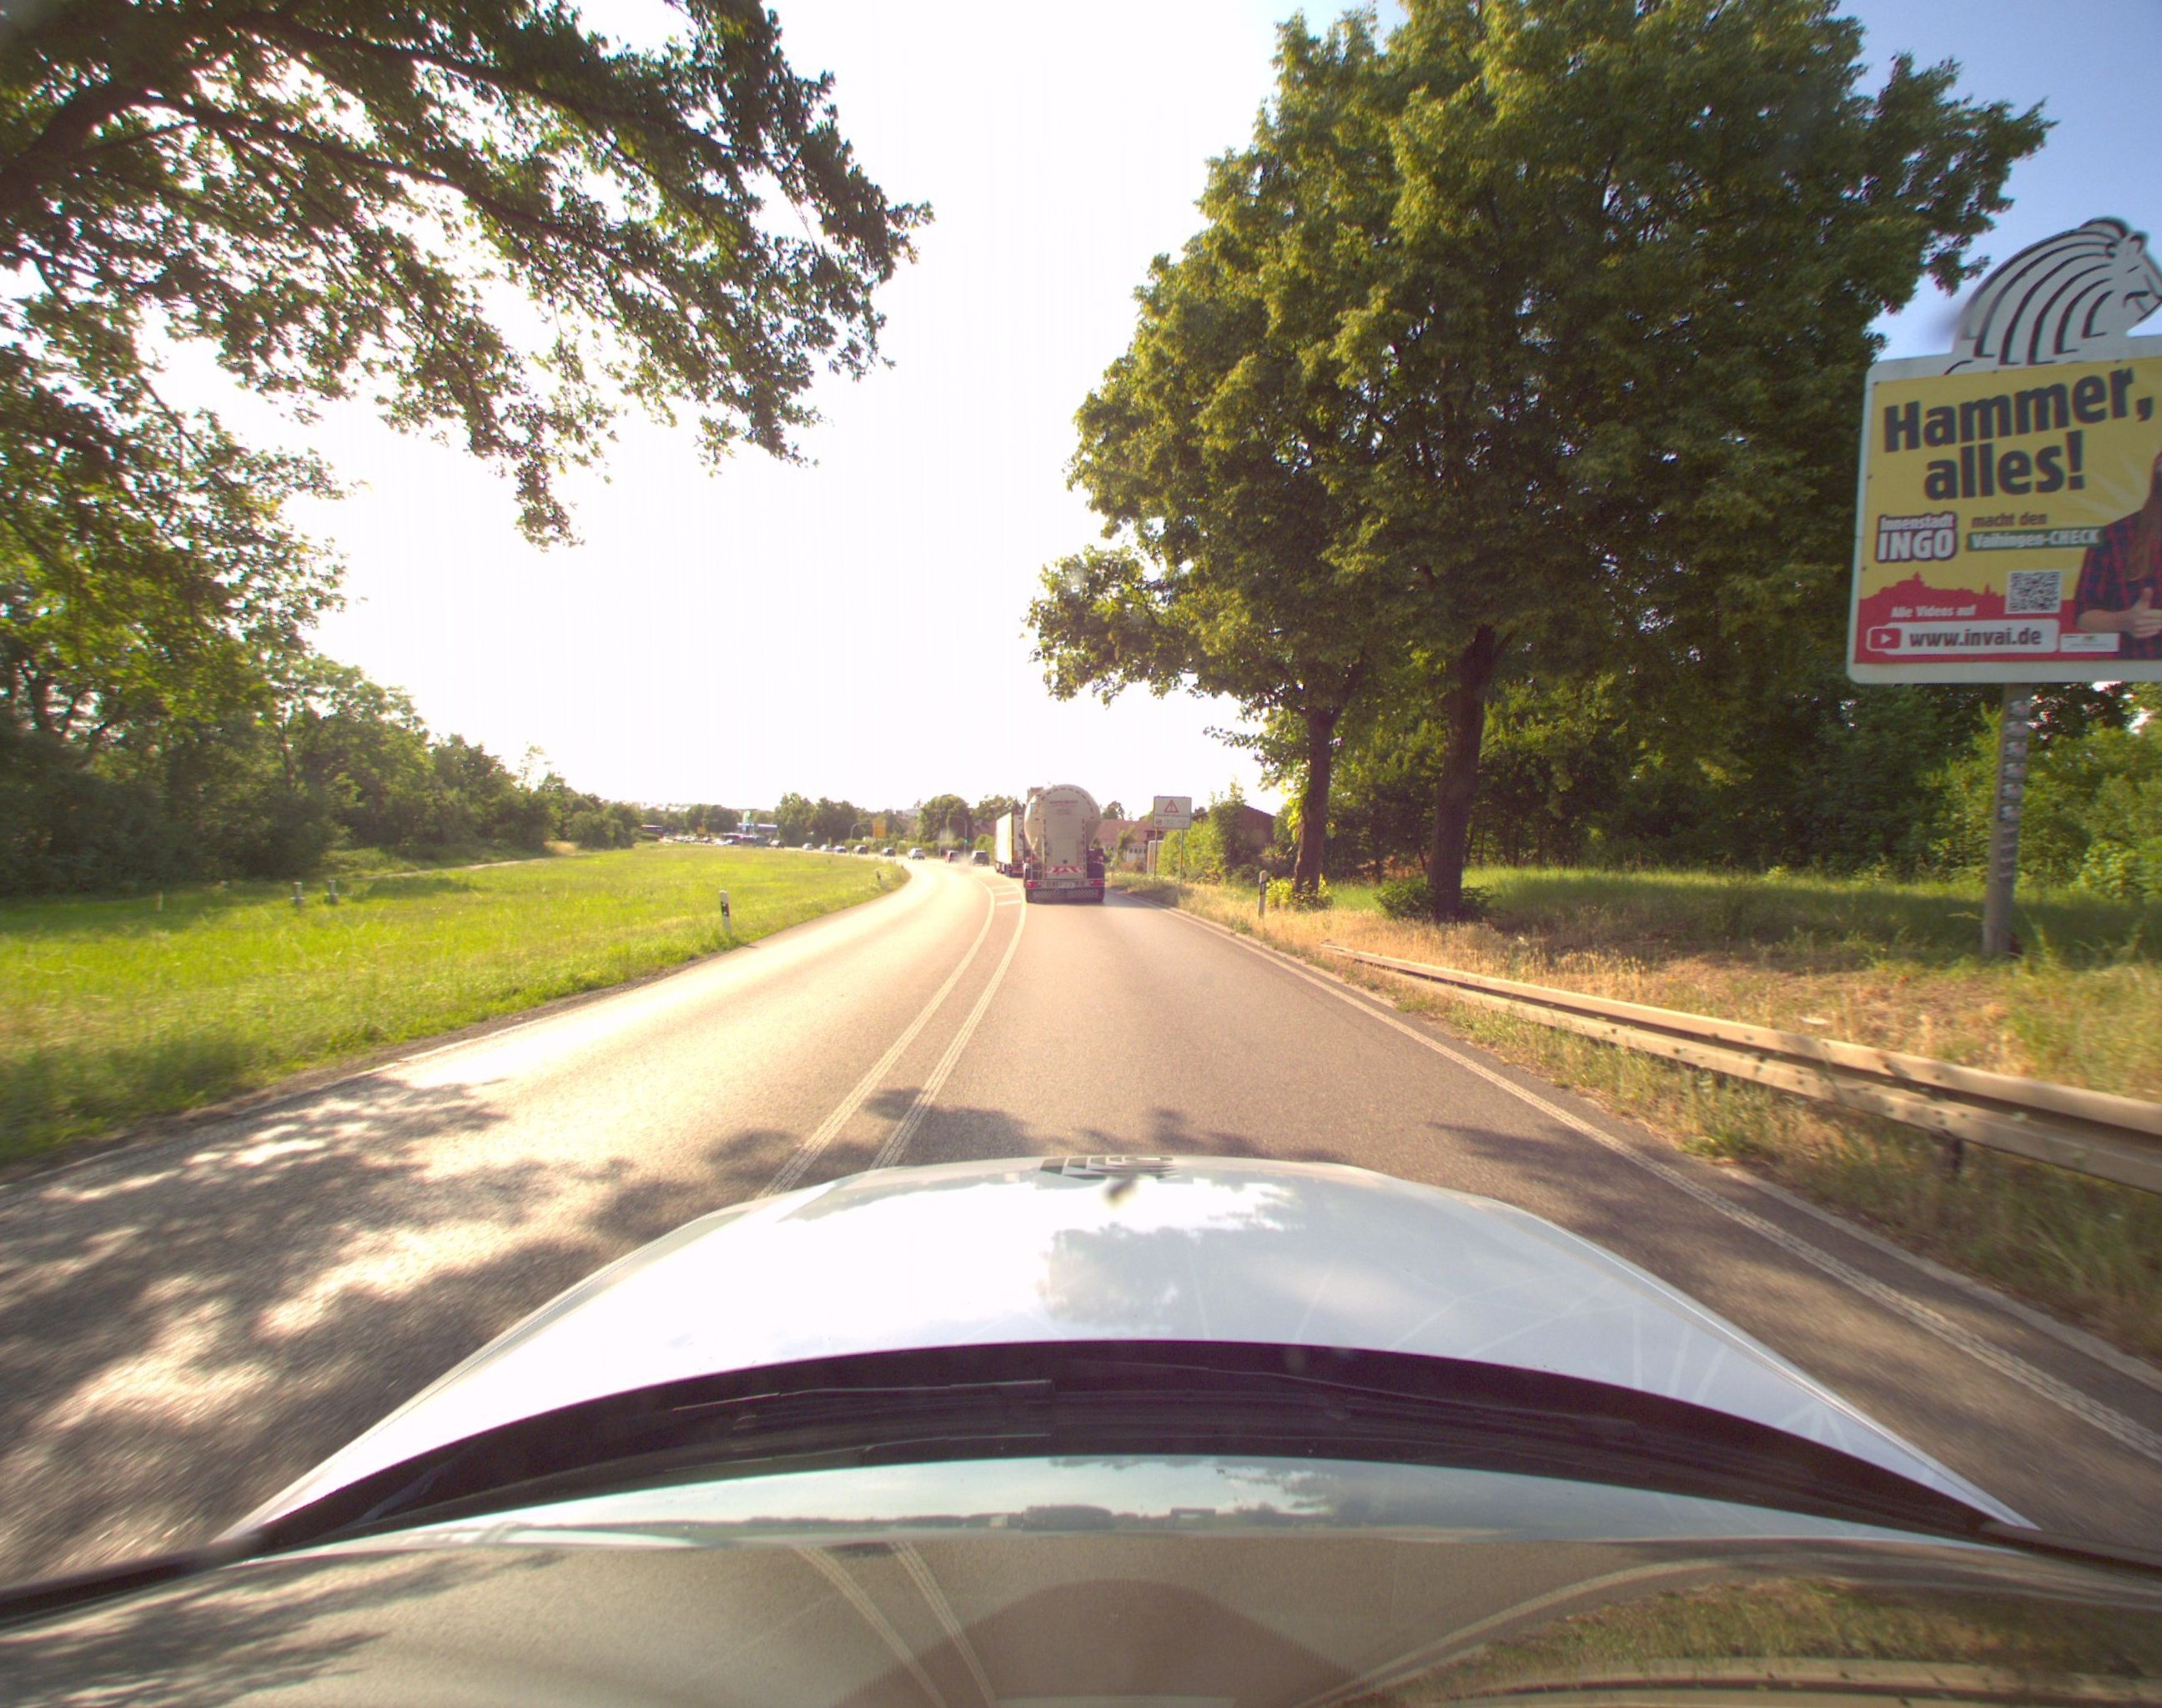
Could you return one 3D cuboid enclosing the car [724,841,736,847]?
[{"bbox_3d":[-95.496,-2.592,221.376,2.101,1.599,3.956,0,0,-36],"label":"car"}]

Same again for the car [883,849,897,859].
[{"bbox_3d":[-33.592,0.007,142.965,1.527,1.656,3.839,0,-1,-27],"label":"car"}]

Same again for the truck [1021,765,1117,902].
[{"bbox_3d":[-0.763,-0.573,30.828,2.970,4.175,11.644,0,-1,-4],"label":"truck"}]

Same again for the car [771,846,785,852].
[{"bbox_3d":[-73.876,-1.204,198.388,2.101,1.599,3.956,0,0,-36],"label":"car"}]

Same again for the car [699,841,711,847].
[{"bbox_3d":[-106.259,-2.811,229.924,1.898,1.599,3.951,0,0,-43],"label":"car"}]

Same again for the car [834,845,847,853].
[{"bbox_3d":[-49.430,-0.989,167.181,1.690,1.559,3.834,0,-1,-31],"label":"car"}]

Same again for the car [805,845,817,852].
[{"bbox_3d":[-62.961,-1.257,189.737,1.989,1.656,3.834,0,-1,-31],"label":"car"}]

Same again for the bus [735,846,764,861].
[{"bbox_3d":[-77.664,-0.091,190.385,2.817,3.181,11.985,0,-1,-40],"label":"bus"}]

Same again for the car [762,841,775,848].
[{"bbox_3d":[-79.221,-2.410,206.431,2.101,1.599,3.956,0,0,-36],"label":"car"}]

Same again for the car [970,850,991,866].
[{"bbox_3d":[-10.804,0.411,87.468,1.994,1.656,3.986,0,-1,-10],"label":"car"}]

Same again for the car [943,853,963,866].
[{"bbox_3d":[-16.563,0.687,105.189,2.303,1.656,4.394,0,-1,-14],"label":"car"}]

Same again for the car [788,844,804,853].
[{"bbox_3d":[-54.627,-1.072,155.982,1.854,1.656,3.958,0,-1,-34],"label":"car"}]

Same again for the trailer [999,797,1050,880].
[{"bbox_3d":[-3.693,-0.834,53.138,2.959,4.882,10.271,0,-1,-4],"label":"trailer"}]

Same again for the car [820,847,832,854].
[{"bbox_3d":[-55.436,-0.695,176.895,1.690,1.559,3.834,0,-1,-31],"label":"car"}]

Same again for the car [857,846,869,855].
[{"bbox_3d":[-41.980,-0.617,156.743,1.527,1.656,3.839,0,-1,-27],"label":"car"}]

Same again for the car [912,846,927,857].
[{"bbox_3d":[-24.789,-0.310,125.056,1.845,1.656,3.977,0,-1,-17],"label":"car"}]
